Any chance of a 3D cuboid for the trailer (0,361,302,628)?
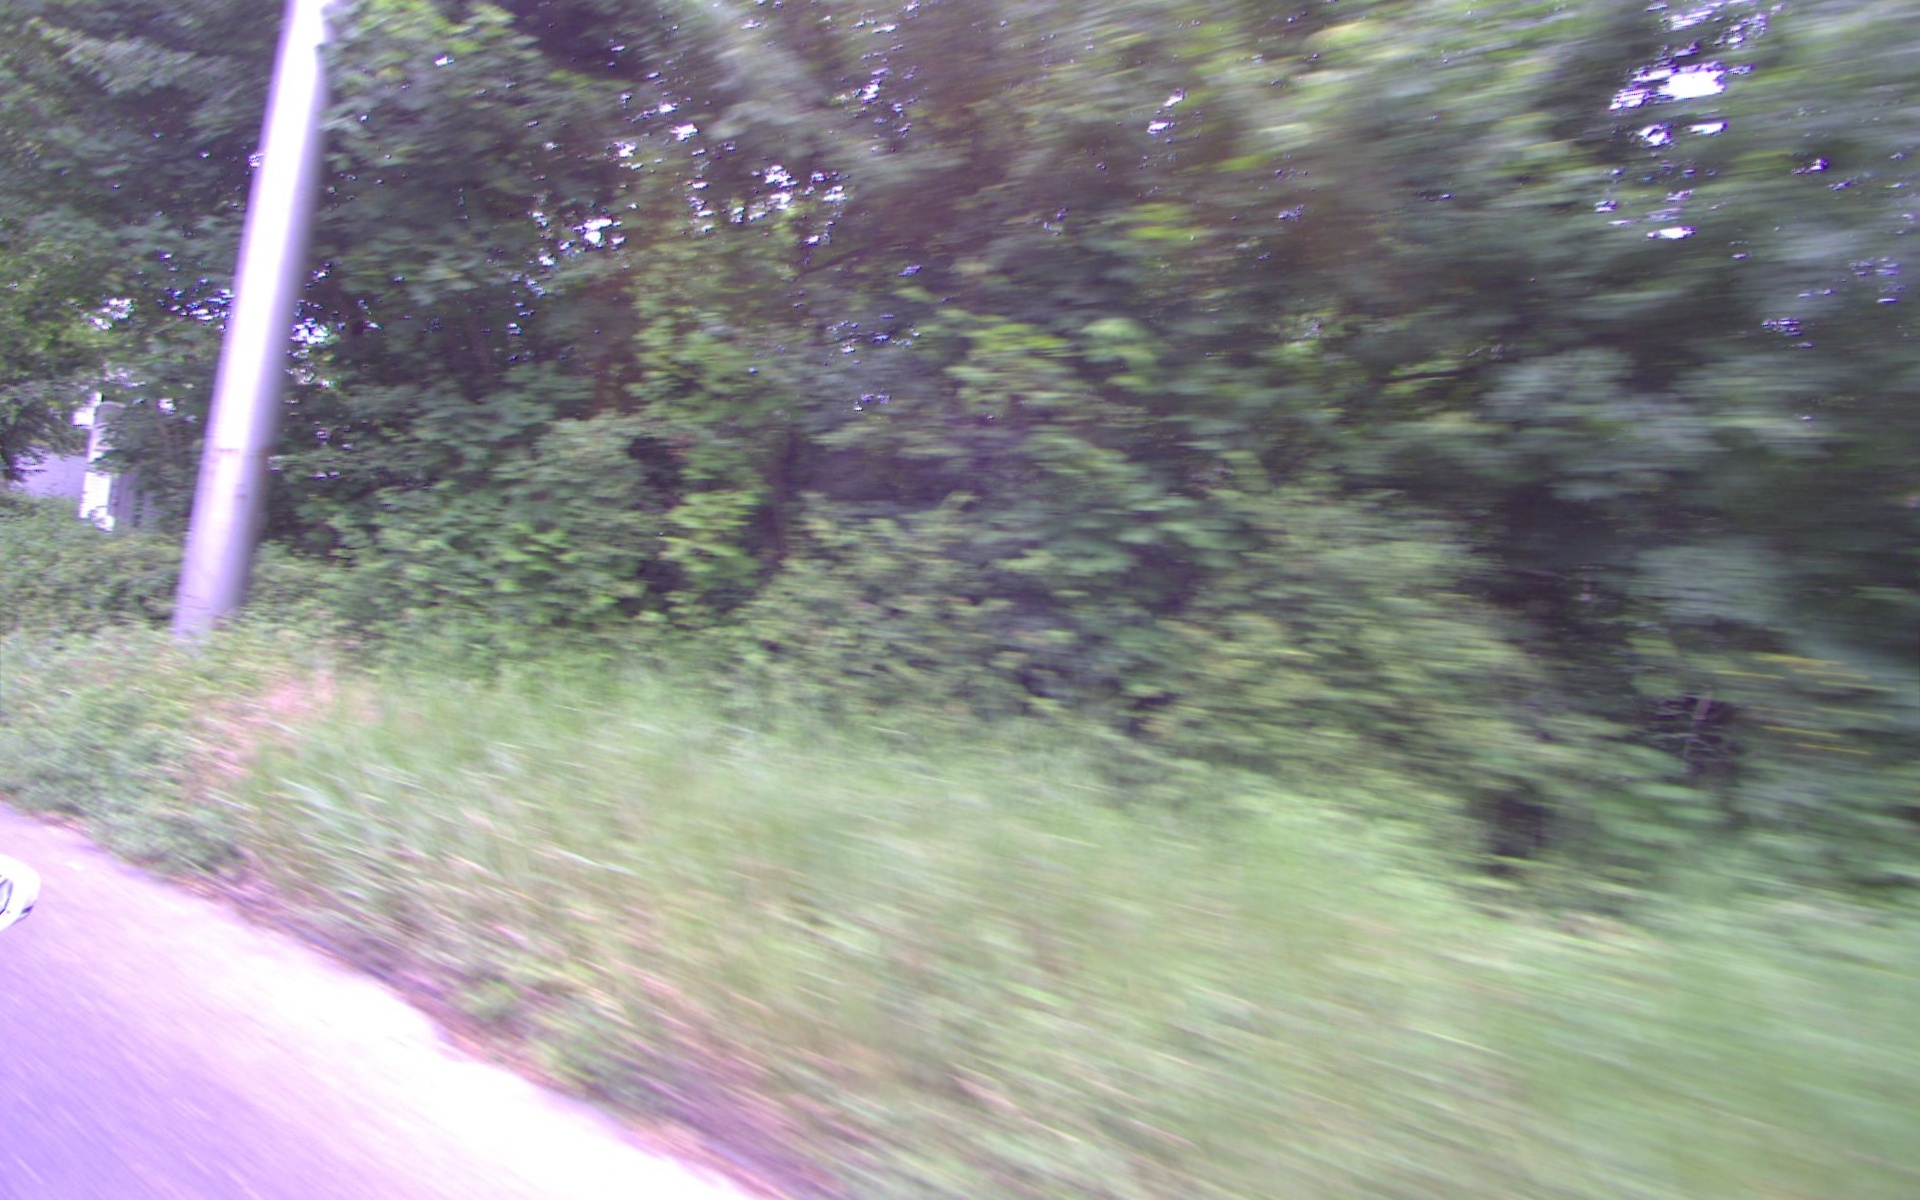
[{"bbox_3d":[-10.971,-1.262,13.365,1.564,2.934,3.125,7,-1,25],"label":"trailer"}]
